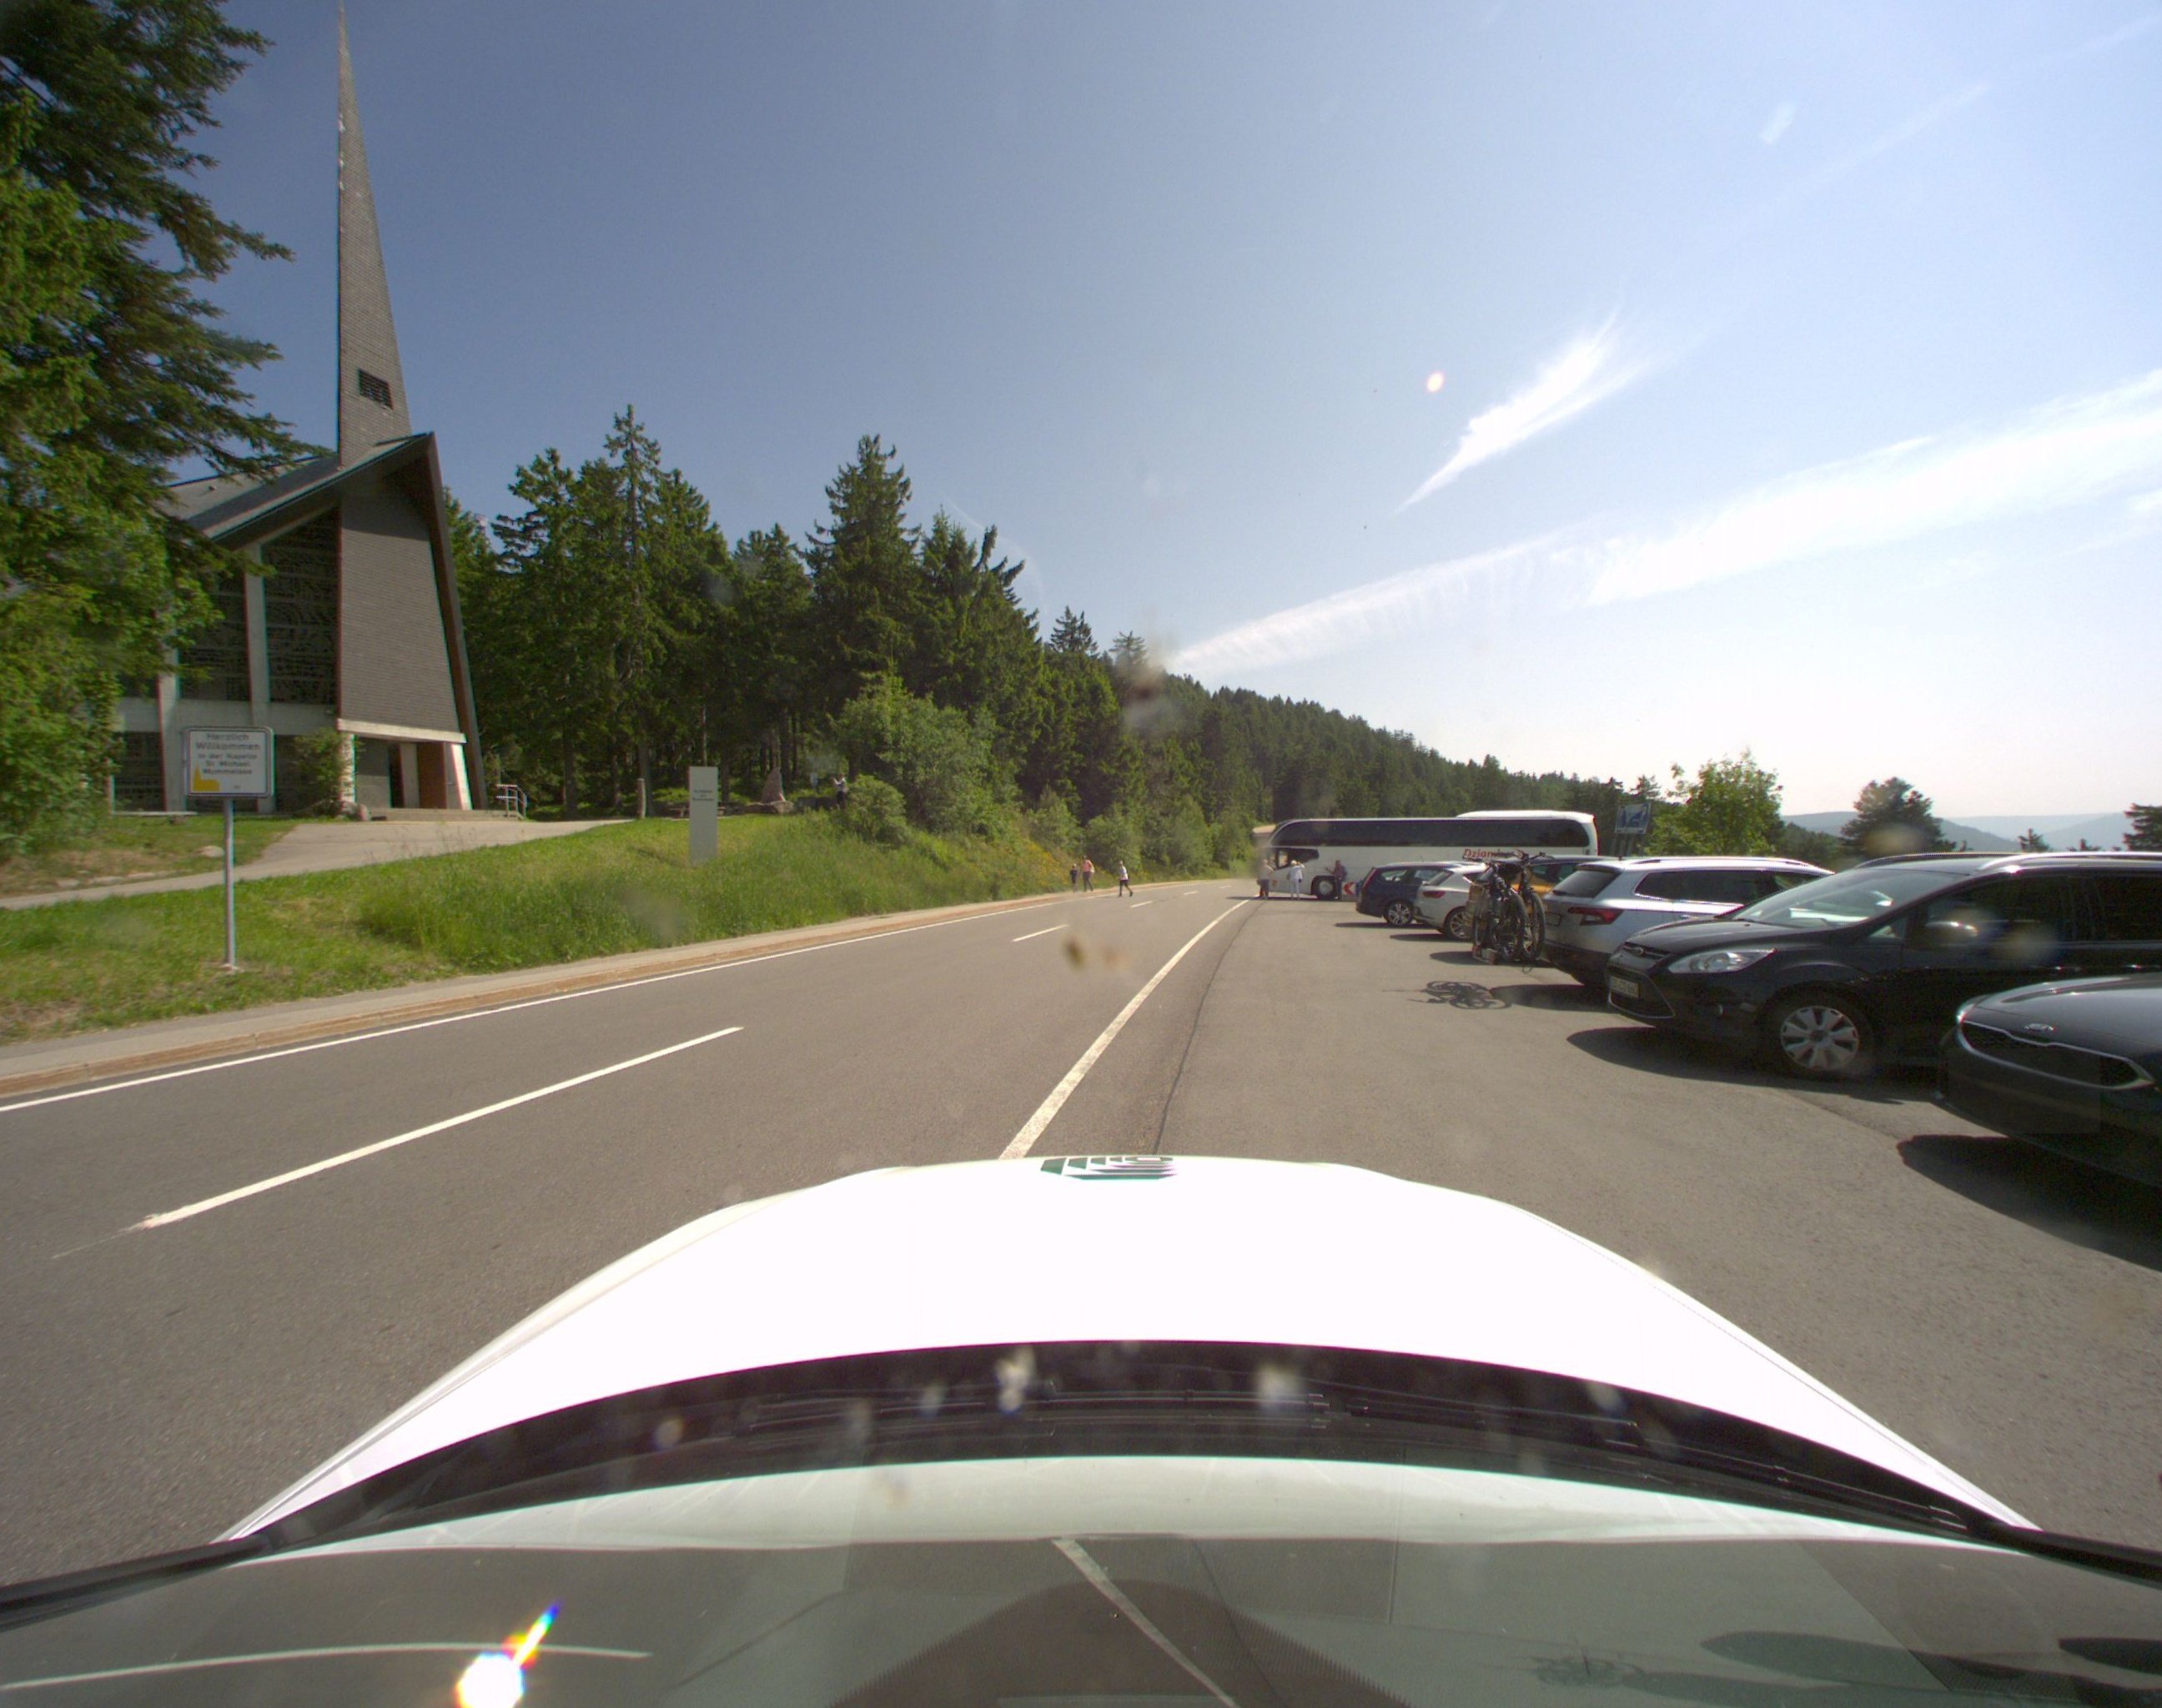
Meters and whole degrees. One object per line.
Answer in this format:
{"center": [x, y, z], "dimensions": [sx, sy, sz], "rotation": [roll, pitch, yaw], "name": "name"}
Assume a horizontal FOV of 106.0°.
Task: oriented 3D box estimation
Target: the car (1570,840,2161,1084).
{"center": [6.420, 0.701, 6.226], "dimensions": [4.217, 1.554, 1.843], "rotation": [-1, 0, 11], "name": "car"}

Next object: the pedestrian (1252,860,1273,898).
{"center": [7.604, 1.041, 34.036], "dimensions": [0.764, 1.585, 0.776], "rotation": [-1, -1, 18], "name": "pedestrian"}

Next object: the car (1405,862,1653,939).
{"center": [8.633, 0.884, 16.009], "dimensions": [3.961, 1.398, 1.625], "rotation": [-1, 0, 11], "name": "car"}

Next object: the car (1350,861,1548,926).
{"center": [8.619, 0.906, 19.409], "dimensions": [3.961, 1.449, 1.867], "rotation": [-1, 0, 11], "name": "car"}

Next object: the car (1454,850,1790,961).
{"center": [8.059, 0.742, 12.501], "dimensions": [3.961, 1.554, 1.665], "rotation": [-1, 0, 11], "name": "car"}

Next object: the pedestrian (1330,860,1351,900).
{"center": [10.614, 1.060, 33.271], "dimensions": [0.763, 1.585, 0.776], "rotation": [-1, -1, 19], "name": "pedestrian"}

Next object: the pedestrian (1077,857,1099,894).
{"center": [0.343, 0.993, 38.152], "dimensions": [0.861, 1.683, 0.859], "rotation": [-1, -1, 12], "name": "pedestrian"}

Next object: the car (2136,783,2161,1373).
{"center": [5.292, 0.634, 0.914], "dimensions": [4.915, 1.695, 1.952], "rotation": [0, 0, 13], "name": "car"}

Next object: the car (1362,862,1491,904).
{"center": [12.360, 1.040, 29.379], "dimensions": [3.961, 1.449, 1.867], "rotation": [-1, 0, 11], "name": "car"}

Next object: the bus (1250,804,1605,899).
{"center": [13.881, -0.013, 33.908], "dimensions": [12.982, 3.533, 3.059], "rotation": [-1, -1, 21], "name": "bus"}

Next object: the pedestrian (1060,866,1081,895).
{"center": [-0.481, 1.204, 37.289], "dimensions": [0.775, 1.279, 0.738], "rotation": [-1, -1, 12], "name": "pedestrian"}

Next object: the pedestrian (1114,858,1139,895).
{"center": [2.002, 0.984, 35.640], "dimensions": [0.856, 1.585, 0.813], "rotation": [0, -1, -18], "name": "pedestrian"}

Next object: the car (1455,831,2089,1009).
{"center": [7.080, 0.644, 9.022], "dimensions": [5.002, 1.651, 2.054], "rotation": [-1, 0, 11], "name": "car"}

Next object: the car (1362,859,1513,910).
{"center": [10.976, 0.928, 25.343], "dimensions": [3.961, 1.507, 1.867], "rotation": [-1, 0, 11], "name": "car"}

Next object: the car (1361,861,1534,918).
{"center": [9.790, 0.949, 22.069], "dimensions": [3.961, 1.449, 1.867], "rotation": [-1, 0, 11], "name": "car"}

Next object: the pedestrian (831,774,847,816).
{"center": [-11.003, -2.680, 37.025], "dimensions": [0.682, 1.878, 0.538], "rotation": [-1, -1, -18], "name": "pedestrian"}

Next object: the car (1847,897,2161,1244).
{"center": [6.409, 0.860, 3.500], "dimensions": [4.217, 1.269, 1.843], "rotation": [-1, 0, 11], "name": "car"}

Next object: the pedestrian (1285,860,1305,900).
{"center": [8.829, 1.064, 33.566], "dimensions": [0.764, 1.585, 0.776], "rotation": [-1, -1, 18], "name": "pedestrian"}
